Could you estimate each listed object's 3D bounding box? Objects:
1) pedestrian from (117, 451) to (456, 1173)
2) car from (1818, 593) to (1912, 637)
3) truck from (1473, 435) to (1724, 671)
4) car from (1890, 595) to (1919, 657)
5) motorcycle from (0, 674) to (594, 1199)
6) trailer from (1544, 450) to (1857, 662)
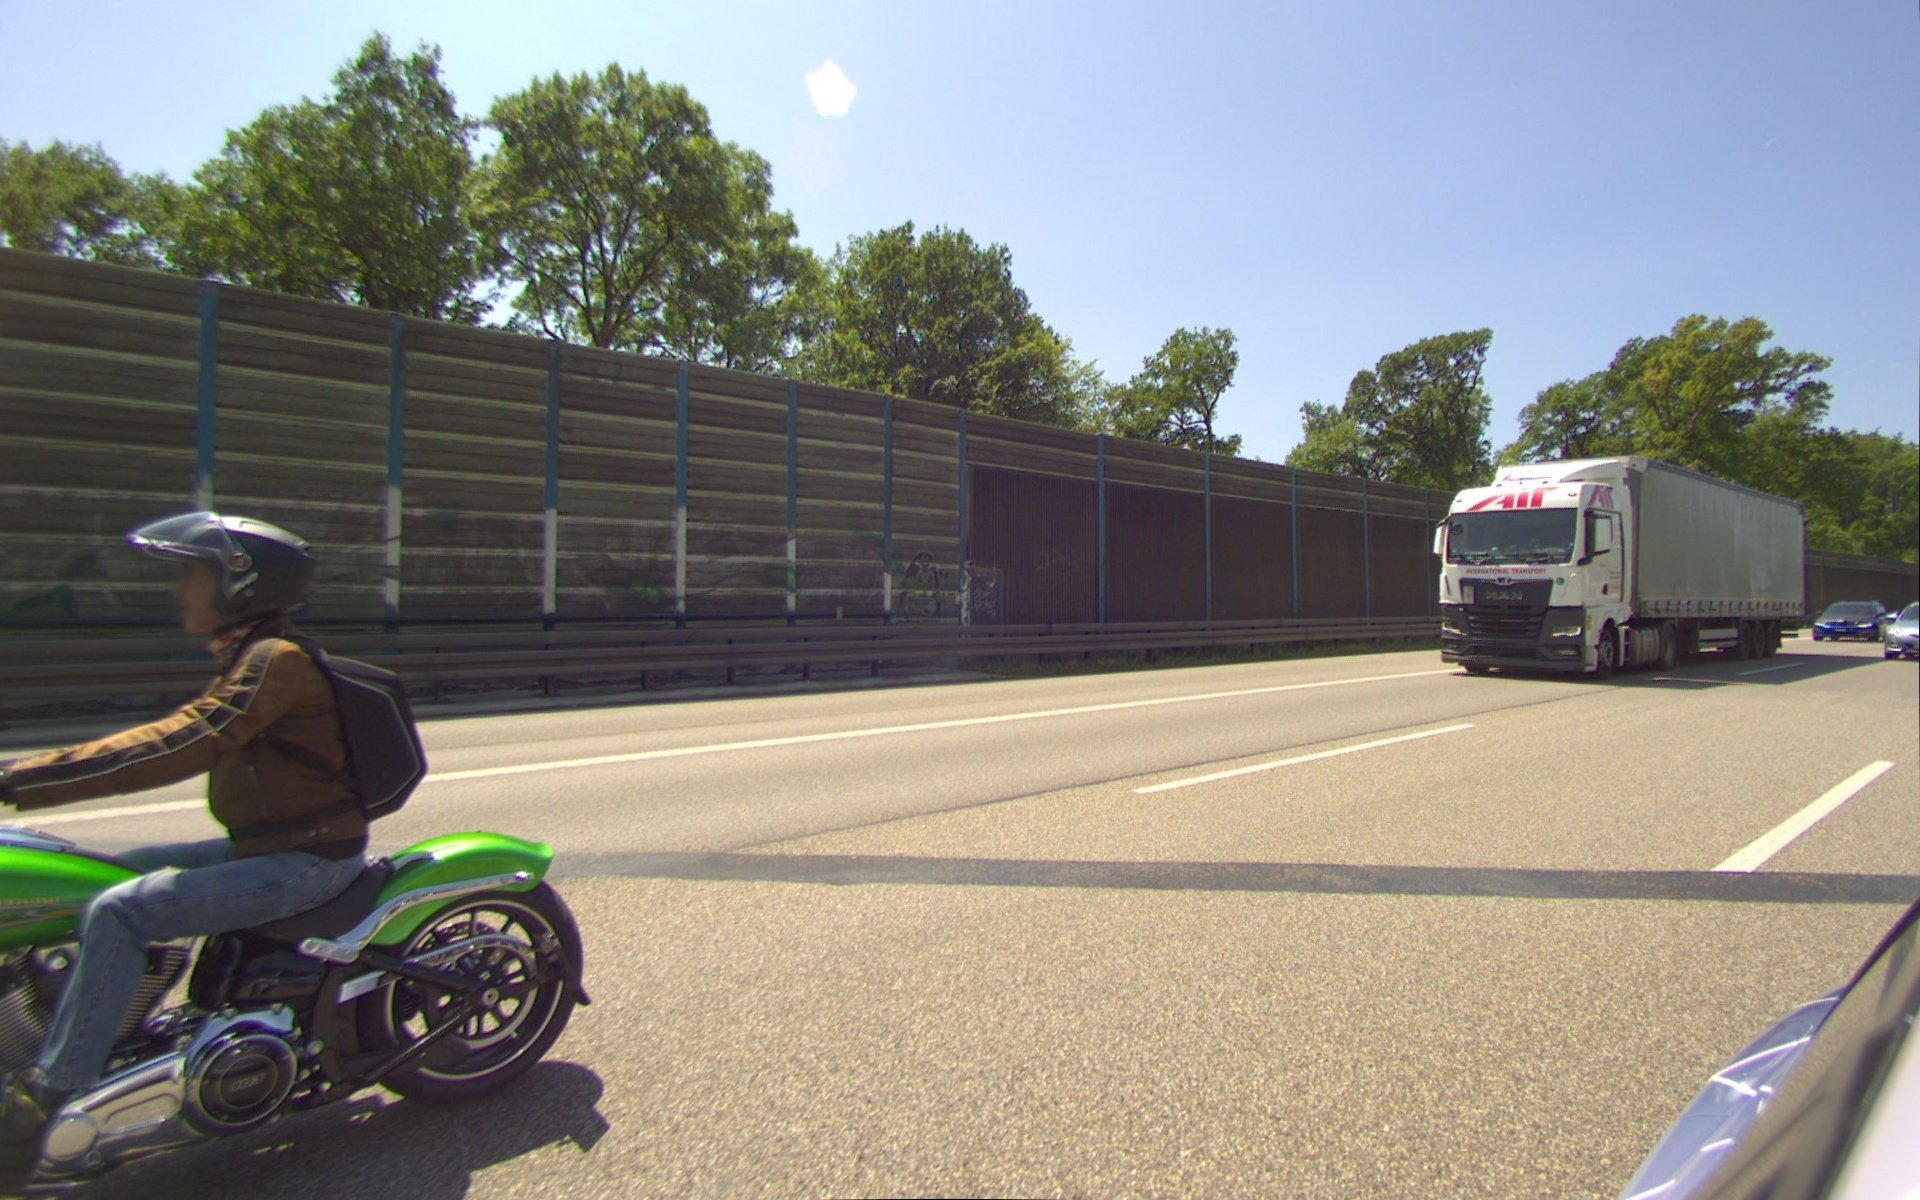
[{"bbox_3d":[-1.764,0.439,2.639,0.626,1.497,0.853,1,-1,-39],"label":"pedestrian"},{"bbox_3d":[33.123,0.524,37.013,4.100,1.512,1.860,0,-1,-38],"label":"car"},{"bbox_3d":[12.996,-0.848,20.467,5.451,4.142,2.605,0,0,-38],"label":"truck"},{"bbox_3d":[24.486,0.622,24.783,4.100,1.452,1.860,0,0,-38],"label":"car"},{"bbox_3d":[-2.112,0.837,2.324,2.235,1.197,0.861,1,-1,-39],"label":"motorcycle"},{"bbox_3d":[18.690,-0.896,24.899,13.341,4.142,2.605,0,0,-38],"label":"trailer"}]
